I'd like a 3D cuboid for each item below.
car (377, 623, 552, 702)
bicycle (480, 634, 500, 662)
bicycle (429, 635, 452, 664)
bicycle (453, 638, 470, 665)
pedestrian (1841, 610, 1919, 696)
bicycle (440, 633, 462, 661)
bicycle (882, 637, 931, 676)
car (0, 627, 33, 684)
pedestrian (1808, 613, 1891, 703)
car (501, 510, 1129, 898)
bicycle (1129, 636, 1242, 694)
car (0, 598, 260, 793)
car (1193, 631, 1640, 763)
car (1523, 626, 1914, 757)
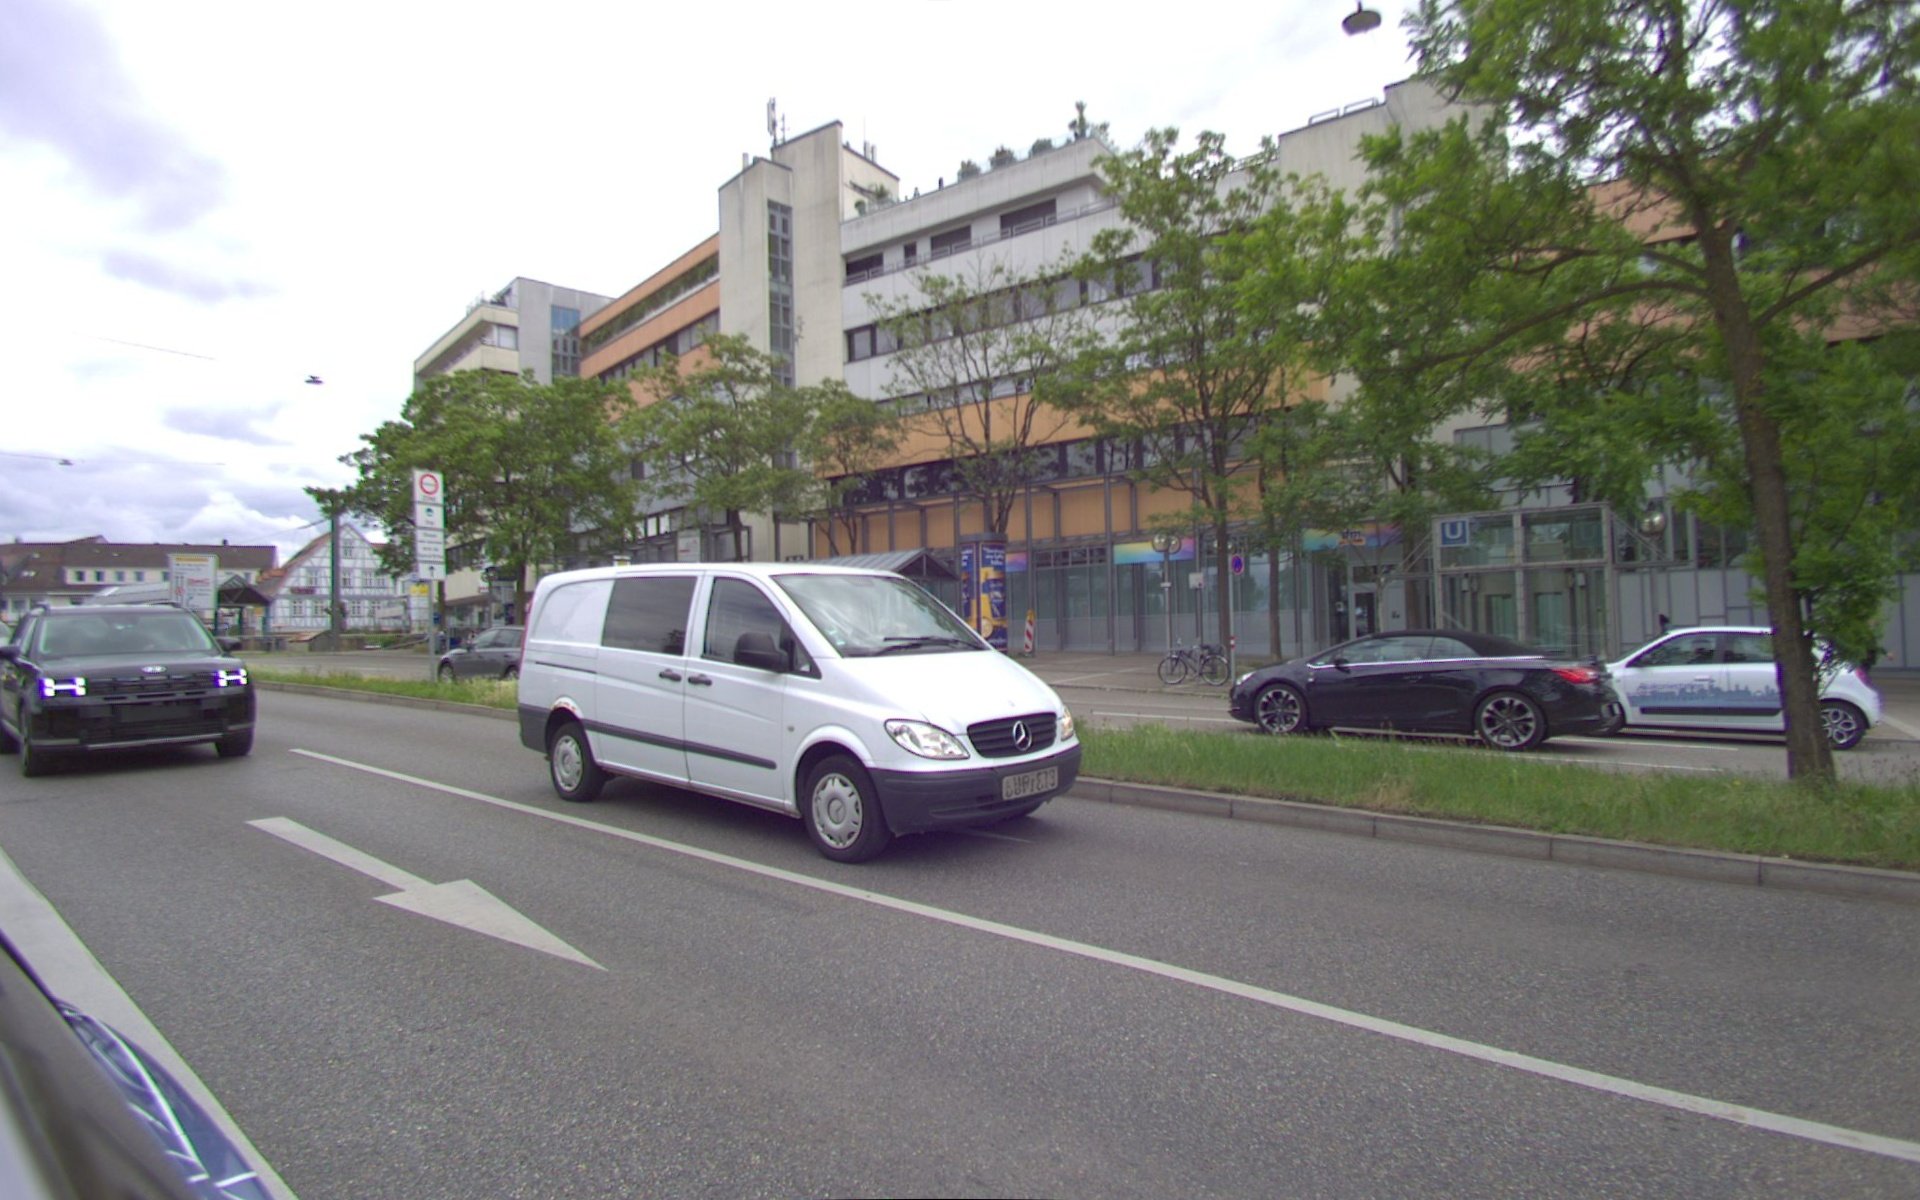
[{"bbox_3d":[-11.082,1.333,22.509,4.515,1.586,1.972,-2,-3,42],"label":"car"},{"bbox_3d":[-21.542,2.208,46.410,0.616,1.263,1.688,0,-2,-17],"label":"bicycle"},{"bbox_3d":[-23.279,2.199,45.353,0.616,1.263,1.688,0,-2,-17],"label":"bicycle"},{"bbox_3d":[-23.254,2.394,47.231,0.425,1.263,1.474,0,-2,-14],"label":"bicycle"},{"bbox_3d":[16.191,0.927,17.767,0.860,1.469,0.602,-1,-1,7],"label":"pedestrian"},{"bbox_3d":[-23.949,2.204,47.604,0.616,1.263,1.688,0,-2,-16],"label":"bicycle"},{"bbox_3d":[-1.693,1.795,32.590,0.707,1.162,2.054,-1,-1,25],"label":"bicycle"},{"bbox_3d":[-30.171,1.710,30.958,4.387,1.662,1.975,-2,-1,38],"label":"car"},{"bbox_3d":[15.050,0.962,17.149,0.862,1.469,0.600,1,0,15],"label":"pedestrian"},{"bbox_3d":[-1.396,0.632,7.689,5.073,2.029,1.854,-2,-3,41],"label":"car"},{"bbox_3d":[5.378,1.516,24.221,2.420,1.280,1.042,-2,0,37],"label":"bicycle"},{"bbox_3d":[-9.636,0.933,11.481,4.679,1.765,1.901,-3,-2,44],"label":"car"},{"bbox_3d":[5.713,1.128,13.070,5.002,1.408,1.796,-1,-4,37],"label":"car"},{"bbox_3d":[10.031,1.141,13.706,3.994,1.529,1.731,-2,-3,38],"label":"car"}]
